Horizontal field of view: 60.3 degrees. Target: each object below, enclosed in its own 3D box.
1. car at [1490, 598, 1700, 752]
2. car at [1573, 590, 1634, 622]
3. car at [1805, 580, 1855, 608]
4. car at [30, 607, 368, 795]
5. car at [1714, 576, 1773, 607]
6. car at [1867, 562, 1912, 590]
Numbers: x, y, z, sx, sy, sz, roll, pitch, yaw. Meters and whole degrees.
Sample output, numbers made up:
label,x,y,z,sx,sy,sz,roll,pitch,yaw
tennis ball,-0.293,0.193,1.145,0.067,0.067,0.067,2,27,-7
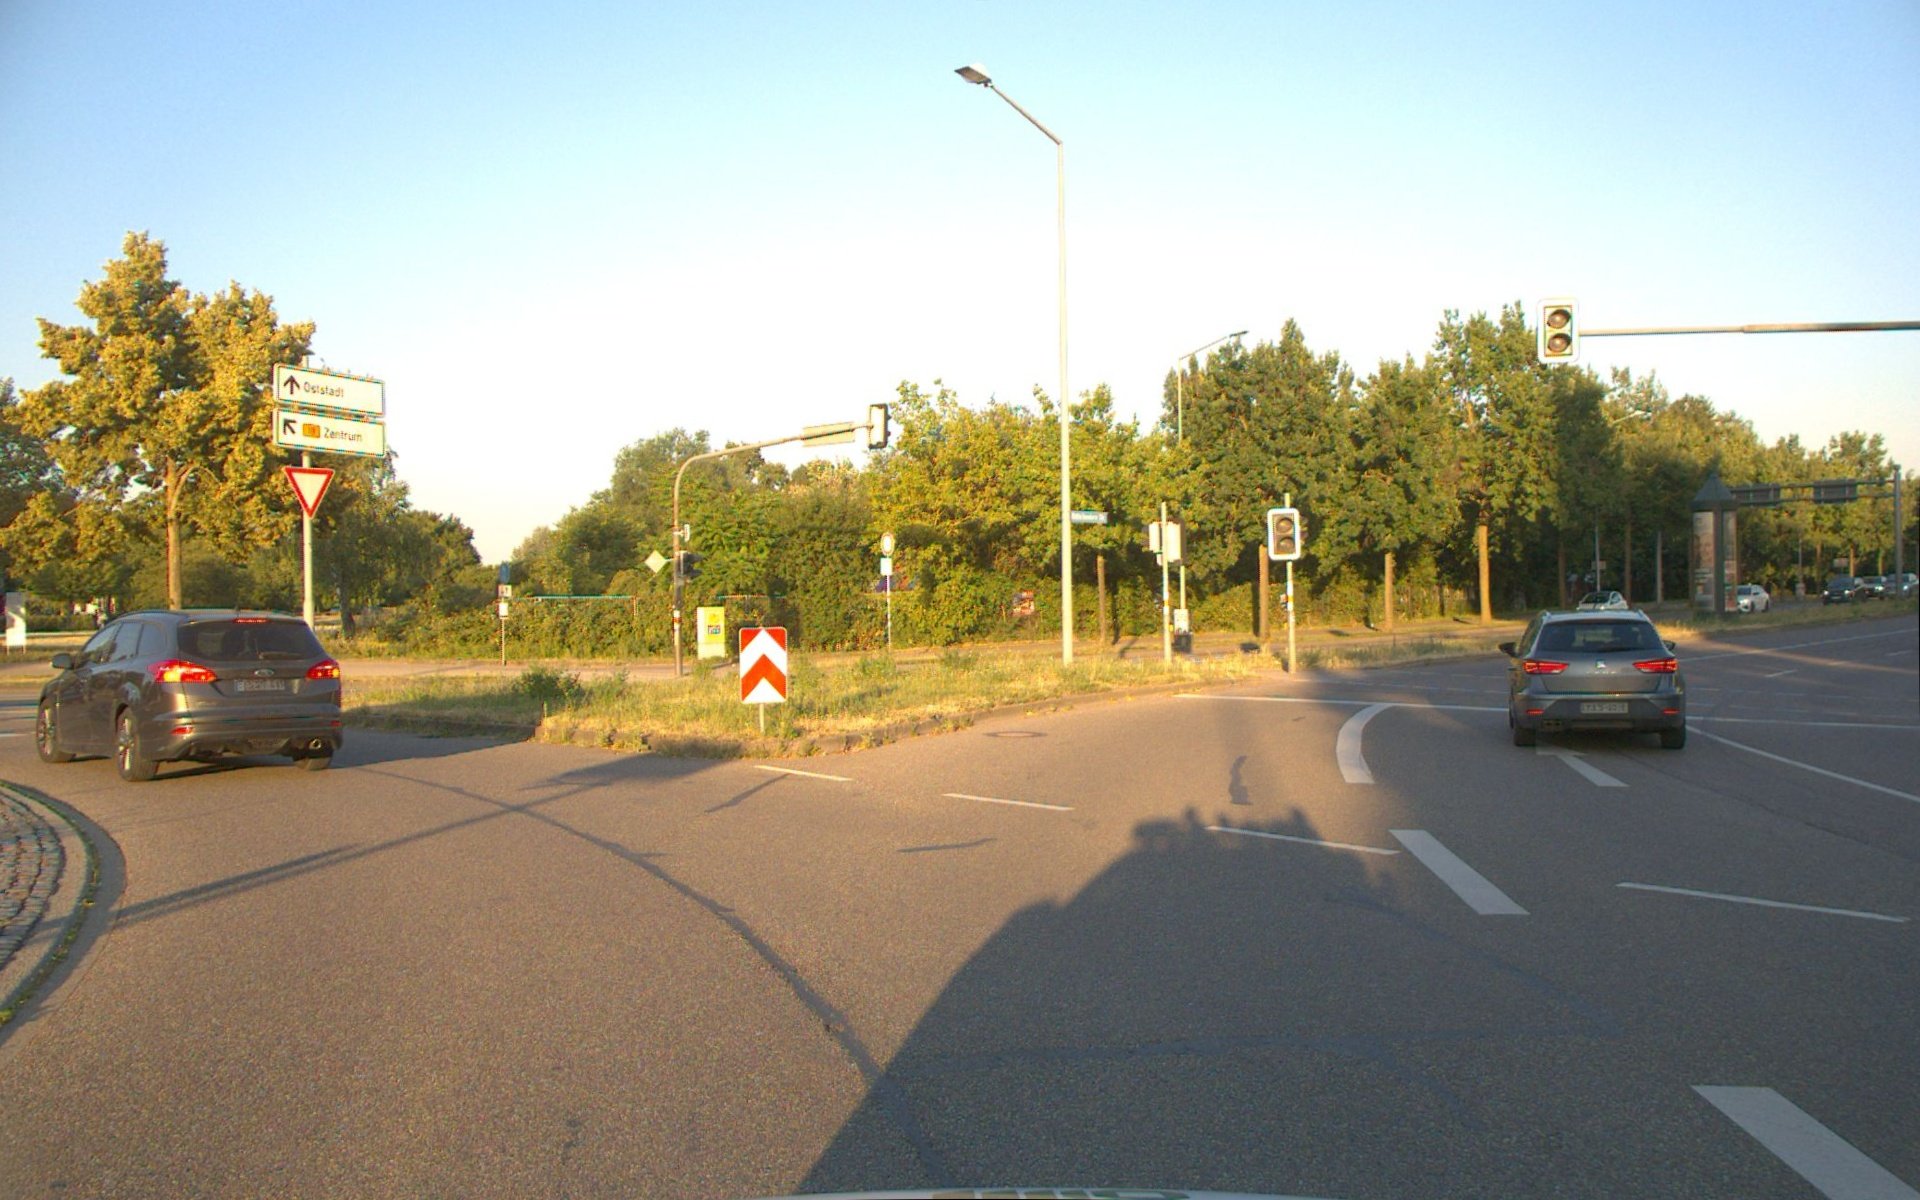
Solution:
label,x,y,z,sx,sy,sz,roll,pitch,yaw
car,6.914,0.740,18.375,1.708,1.449,4.138,-1,1,15
car,30.228,0.276,77.656,1.527,1.468,3.465,-2,-1,42
car,52.905,-0.372,100.564,1.770,1.661,4.432,-2,-1,40
car,-7.303,0.836,15.666,1.737,1.492,4.070,-1,1,-43
car,39.388,-0.452,83.124,1.694,1.474,4.528,-2,0,38
car,63.055,-1.582,112.144,1.885,1.785,4.899,-2,-1,38
